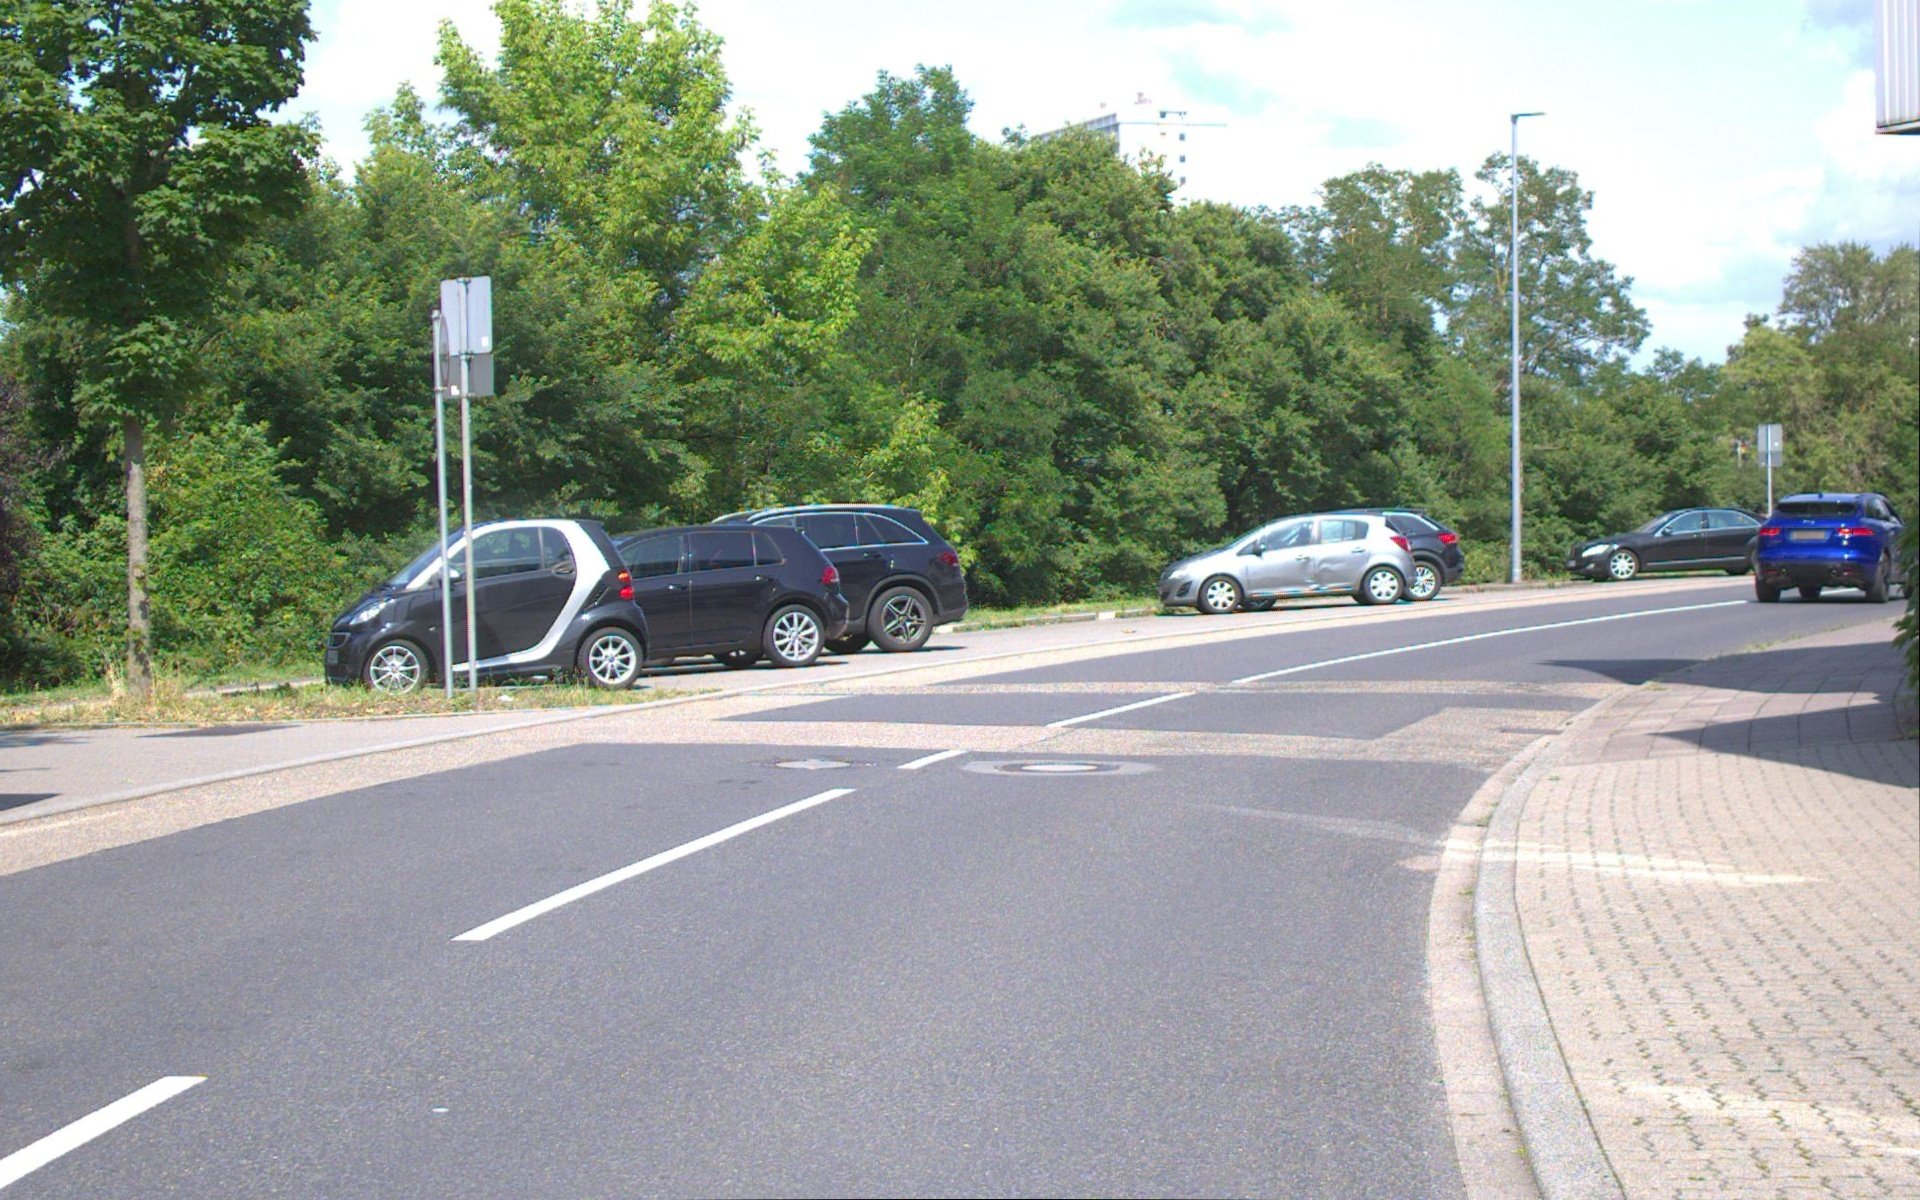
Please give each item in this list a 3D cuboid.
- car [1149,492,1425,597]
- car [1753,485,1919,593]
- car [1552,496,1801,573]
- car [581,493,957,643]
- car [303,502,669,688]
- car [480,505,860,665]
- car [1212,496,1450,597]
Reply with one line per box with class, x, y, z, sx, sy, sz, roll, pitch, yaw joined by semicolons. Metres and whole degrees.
car;5.053;-0.856;53.474;4.045;1.564;1.742;-1;0;-3
car;13.660;-0.930;53.052;1.912;1.588;4.695;0;1;24
car;15.219;-1.382;73.178;4.881;1.564;1.742;-1;0;-3
car;-2.083;-0.360;37.414;3.627;1.564;1.890;-1;0;-26
car;-4.218;-0.058;30.425;2.897;1.564;1.890;-1;0;-18
car;-2.863;-0.178;33.931;3.323;1.470;1.704;-2;2;-26
car;5.985;-0.861;55.732;3.577;1.564;1.742;-1;0;-3
